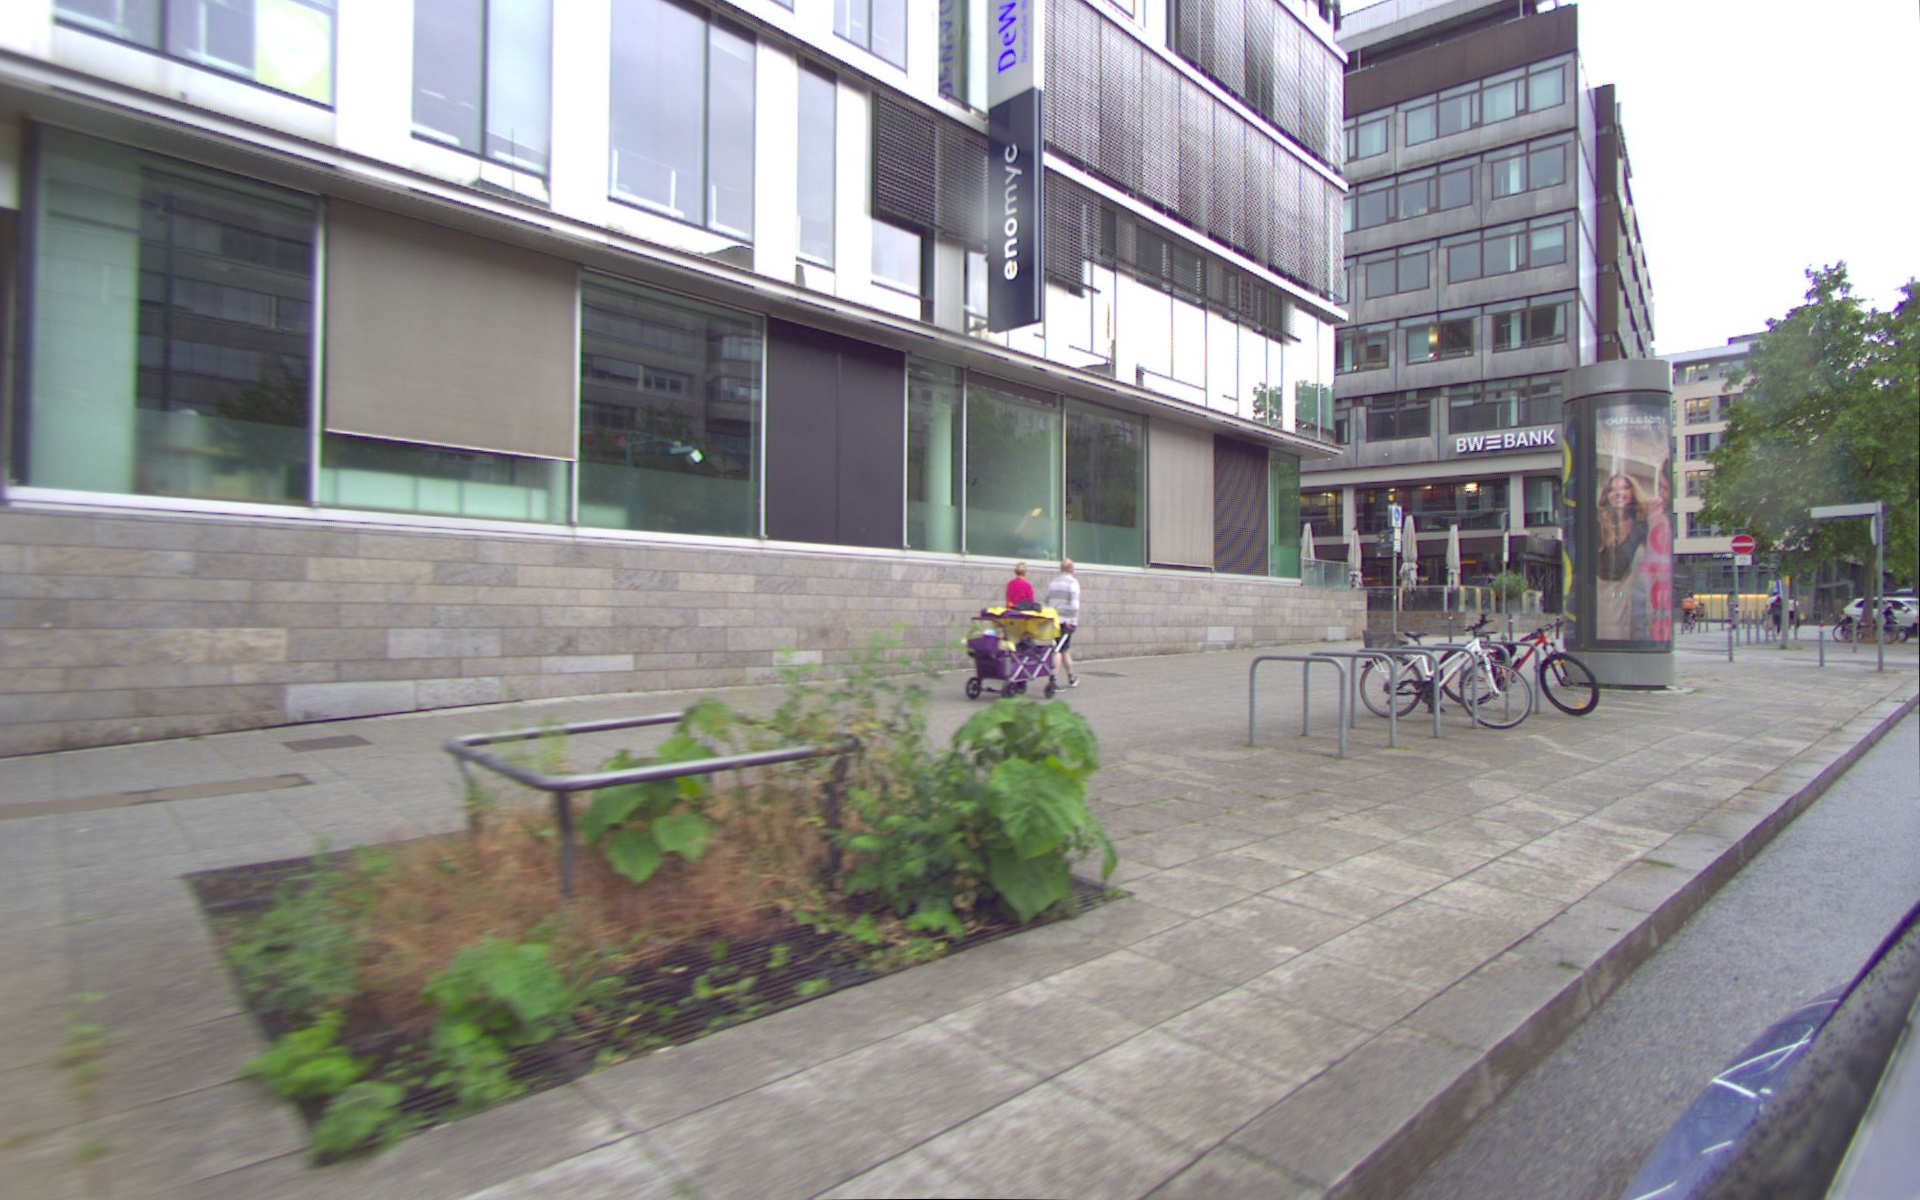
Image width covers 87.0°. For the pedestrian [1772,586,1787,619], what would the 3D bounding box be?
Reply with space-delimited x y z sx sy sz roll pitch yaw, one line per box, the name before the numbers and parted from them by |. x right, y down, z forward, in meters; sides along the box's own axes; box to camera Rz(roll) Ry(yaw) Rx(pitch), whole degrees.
pedestrian | 42.741 0.132 52.793 0.538 1.723 0.551 -1 0 -43

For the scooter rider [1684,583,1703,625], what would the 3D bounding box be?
scooter rider | 35.954 0.195 49.600 0.626 2.051 0.841 -1 0 44

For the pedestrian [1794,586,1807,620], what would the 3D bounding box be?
pedestrian | 43.234 0.137 52.030 0.488 1.723 0.451 -1 0 -43

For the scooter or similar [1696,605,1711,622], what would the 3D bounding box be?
scooter or similar | 36.239 0.655 49.332 0.407 0.782 1.256 -1 0 43

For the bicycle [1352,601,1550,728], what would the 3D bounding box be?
bicycle | 5.206 0.637 10.792 1.789 1.222 0.660 1 0 40

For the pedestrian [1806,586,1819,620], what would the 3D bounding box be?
pedestrian | 43.752 0.133 51.913 0.488 1.723 0.451 -1 0 -43

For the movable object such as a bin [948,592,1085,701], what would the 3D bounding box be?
movable object such as a bin | 0.751 0.548 12.940 0.802 1.281 1.760 1 1 44

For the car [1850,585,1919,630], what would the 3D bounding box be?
car | 40.014 0.309 42.005 1.959 1.835 4.218 -1 -1 -9

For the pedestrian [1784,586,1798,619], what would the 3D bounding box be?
pedestrian | 43.083 0.132 52.468 0.538 1.723 0.451 -1 0 -43

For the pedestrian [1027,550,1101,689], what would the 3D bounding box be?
pedestrian | 1.437 0.246 14.019 0.722 1.853 0.735 1 1 44

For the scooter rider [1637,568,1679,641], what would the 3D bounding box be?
scooter rider | 20.013 0.131 29.035 0.908 2.046 0.779 0 0 -41

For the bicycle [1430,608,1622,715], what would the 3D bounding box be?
bicycle | 6.636 0.676 11.945 0.658 1.124 1.873 0 0 -43

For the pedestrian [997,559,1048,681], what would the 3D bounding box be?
pedestrian | 0.908 0.278 14.730 0.484 1.720 0.570 1 1 44

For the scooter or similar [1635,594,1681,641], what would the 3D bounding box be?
scooter or similar | 20.030 0.494 29.051 1.311 1.322 0.779 0 0 -41
